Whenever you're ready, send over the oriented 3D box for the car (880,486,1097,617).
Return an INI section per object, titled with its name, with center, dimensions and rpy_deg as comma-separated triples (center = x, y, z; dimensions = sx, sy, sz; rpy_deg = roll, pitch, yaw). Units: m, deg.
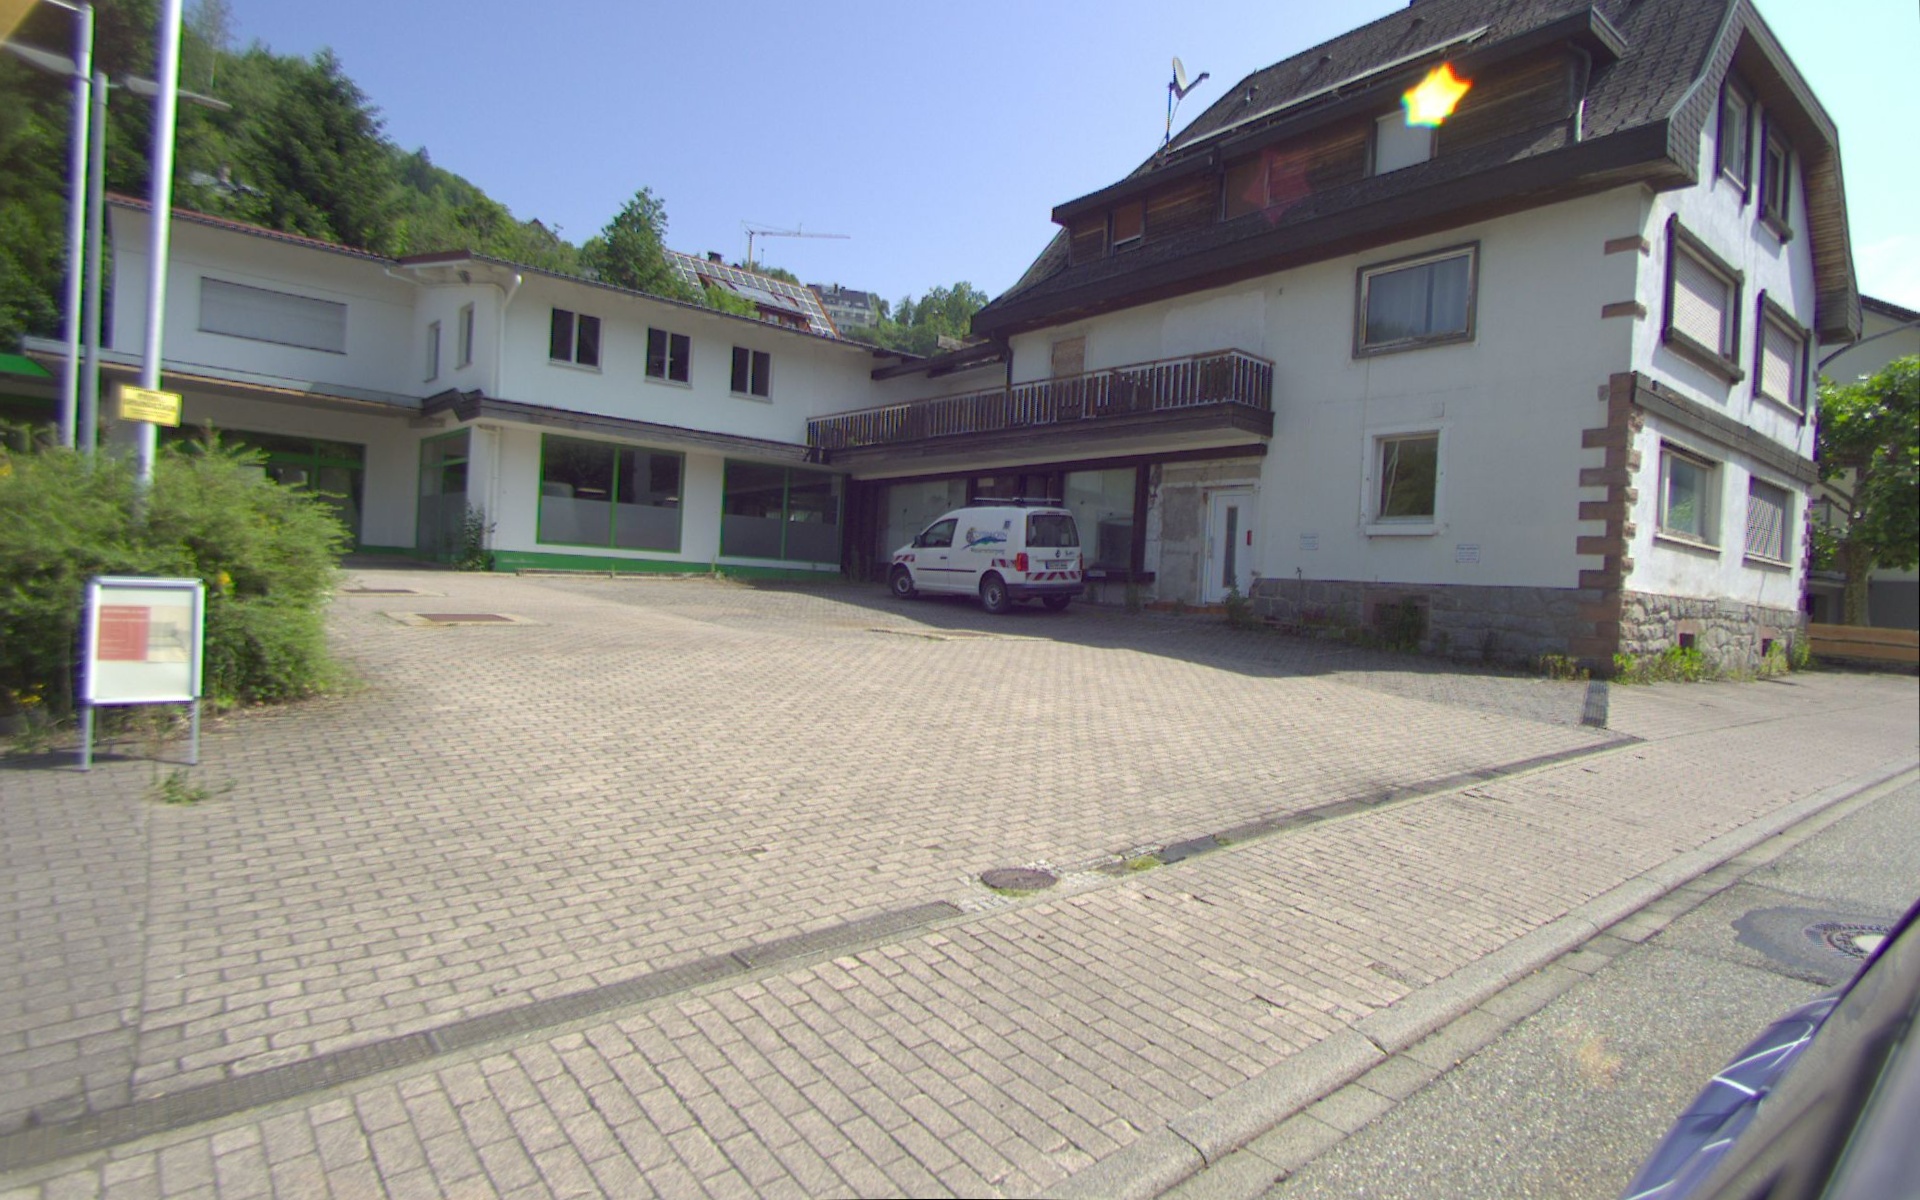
[car]
center = 0.410, -0.979, 18.629
dimensions = 1.608, 2.007, 4.017
rpy_deg = -1, 8, -41
